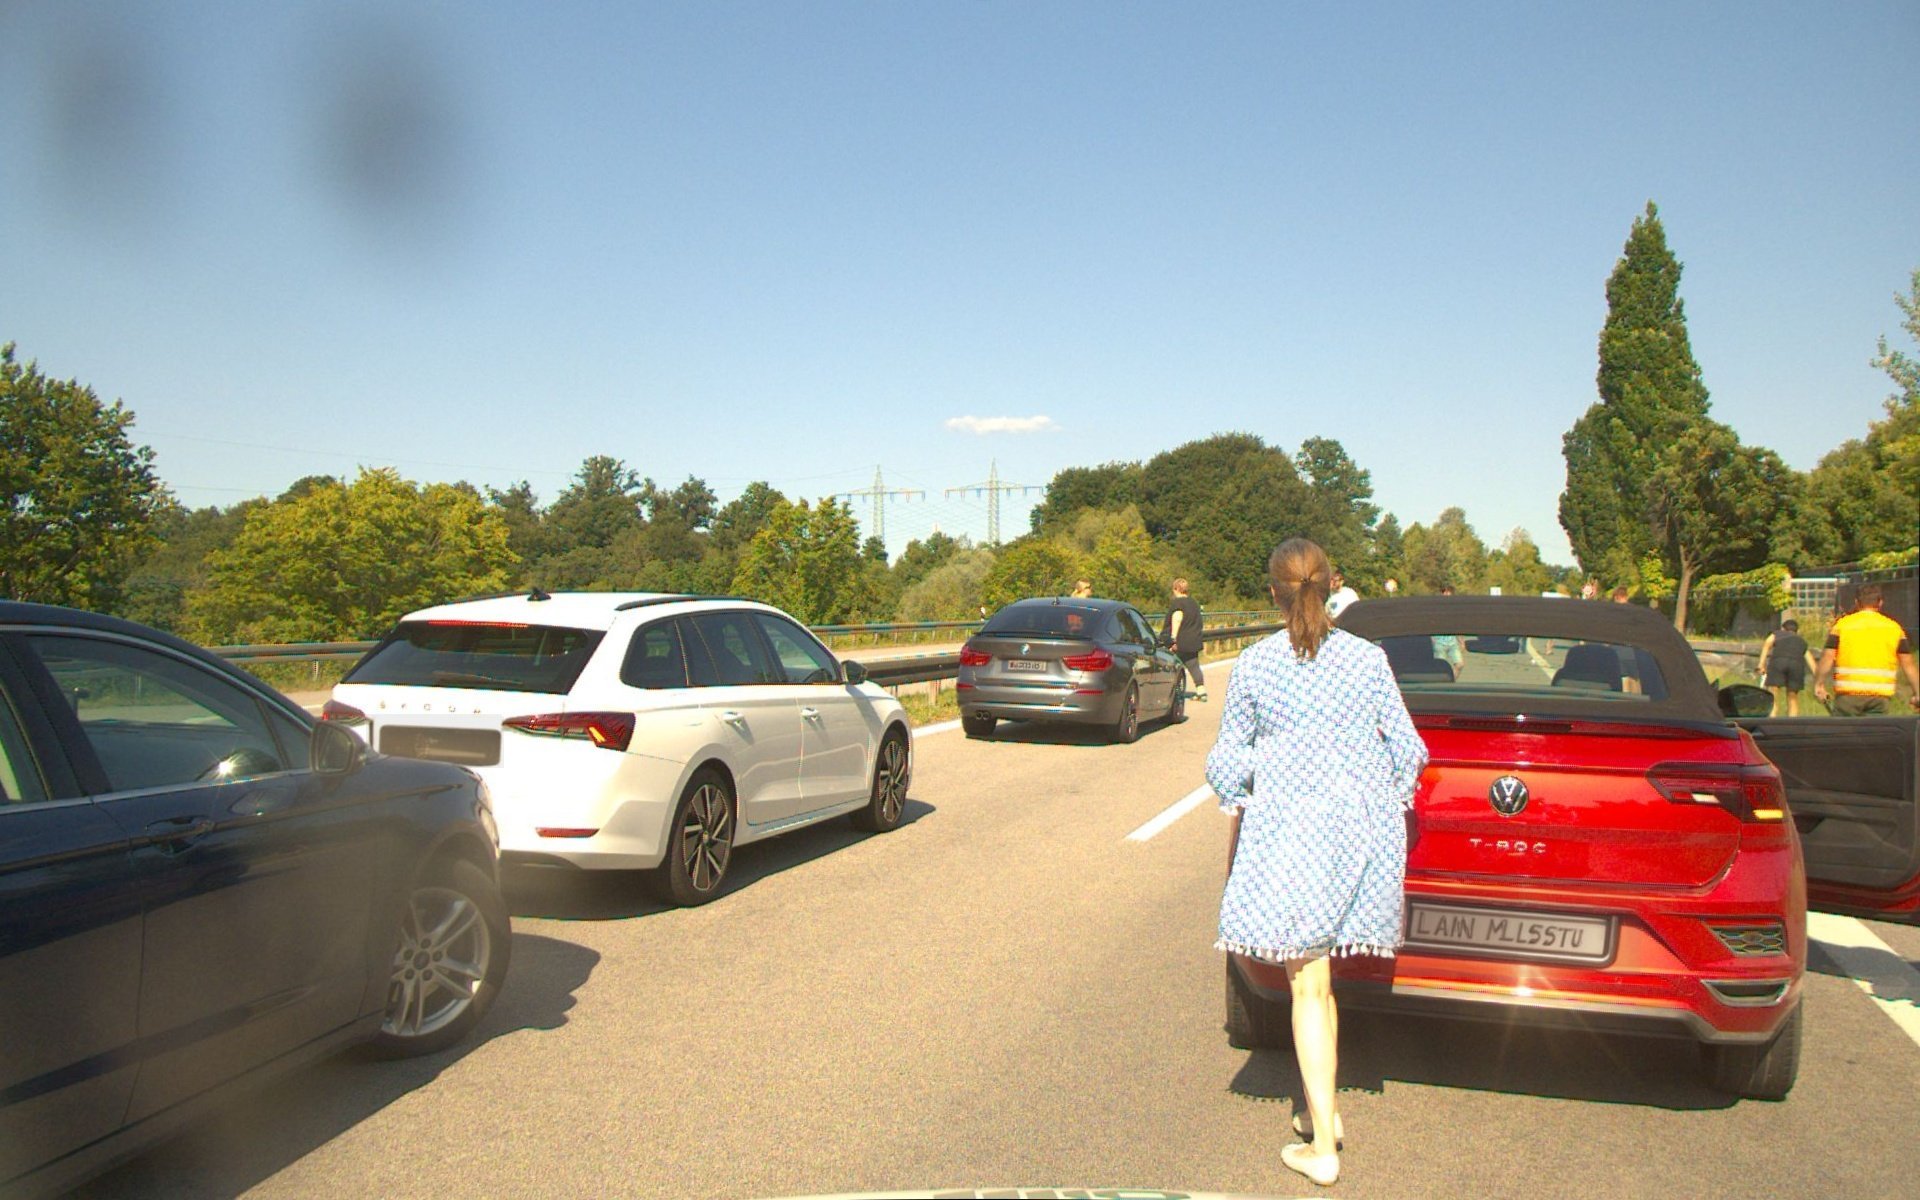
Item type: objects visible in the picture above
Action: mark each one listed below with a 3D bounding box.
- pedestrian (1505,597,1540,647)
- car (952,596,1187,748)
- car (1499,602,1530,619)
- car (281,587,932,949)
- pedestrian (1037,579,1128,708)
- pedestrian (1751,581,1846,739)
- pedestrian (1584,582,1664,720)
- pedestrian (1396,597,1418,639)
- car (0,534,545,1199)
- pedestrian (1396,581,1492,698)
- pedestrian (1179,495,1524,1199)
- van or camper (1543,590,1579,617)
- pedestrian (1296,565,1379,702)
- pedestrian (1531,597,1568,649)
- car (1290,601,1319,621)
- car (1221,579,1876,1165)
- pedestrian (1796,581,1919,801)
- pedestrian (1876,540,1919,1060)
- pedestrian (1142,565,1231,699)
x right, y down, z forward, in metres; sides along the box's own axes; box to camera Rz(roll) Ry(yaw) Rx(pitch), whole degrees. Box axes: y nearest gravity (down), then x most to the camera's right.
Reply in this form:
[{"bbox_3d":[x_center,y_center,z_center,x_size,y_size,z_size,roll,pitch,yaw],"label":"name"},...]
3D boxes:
[{"bbox_3d":[19.683,0.773,57.878,1.035,1.719,1.017,1,0,24],"label":"pedestrian"},{"bbox_3d":[1.352,0.704,18.468,1.659,1.451,4.336,1,0,17],"label":"car"},{"bbox_3d":[51.418,1.002,153.377,1.702,1.513,4.197,1,0,33],"label":"car"},{"bbox_3d":[-1.601,0.695,9.125,1.659,1.466,4.212,1,0,17],"label":"car"},{"bbox_3d":[1.757,0.606,23.599,1.019,1.794,1.118,0,0,20],"label":"pedestrian"},{"bbox_3d":[9.655,0.670,19.072,0.876,1.755,0.754,1,0,21],"label":"pedestrian"},{"bbox_3d":[8.883,0.674,22.146,0.794,1.790,0.829,1,0,8],"label":"pedestrian"},{"bbox_3d":[18.909,0.759,70.029,0.775,1.719,0.792,1,0,22],"label":"pedestrian"},{"bbox_3d":[-2.651,0.635,3.718,1.750,1.519,4.497,0,0,8],"label":"car"},{"bbox_3d":[7.749,0.624,26.545,1.068,1.820,1.105,1,0,-10],"label":"pedestrian"},{"bbox_3d":[1.056,0.607,4.418,0.821,1.712,0.744,0,0,17],"label":"pedestrian"},{"bbox_3d":[54.381,0.347,149.675,1.959,2.356,4.455,1,0,34],"label":"van or camper"},{"bbox_3d":[5.501,0.478,24.191,1.082,1.946,1.258,0,0,9],"label":"pedestrian"},{"bbox_3d":[20.038,0.782,56.251,1.091,1.719,0.973,1,0,24],"label":"pedestrian"},{"bbox_3d":[26.471,0.853,127.039,1.659,1.451,4.306,1,0,19],"label":"car"},{"bbox_3d":[2.202,0.712,6.624,1.696,1.513,4.212,1,0,17],"label":"car"},{"bbox_3d":[7.330,0.697,13.410,0.939,1.683,1.277,0,0,25],"label":"pedestrian"},{"bbox_3d":[3.778,0.660,5.380,0.881,1.725,1.116,0,0,-33],"label":"pedestrian"},{"bbox_3d":[3.333,0.456,24.284,1.044,1.916,1.093,0,0,23],"label":"pedestrian"}]
